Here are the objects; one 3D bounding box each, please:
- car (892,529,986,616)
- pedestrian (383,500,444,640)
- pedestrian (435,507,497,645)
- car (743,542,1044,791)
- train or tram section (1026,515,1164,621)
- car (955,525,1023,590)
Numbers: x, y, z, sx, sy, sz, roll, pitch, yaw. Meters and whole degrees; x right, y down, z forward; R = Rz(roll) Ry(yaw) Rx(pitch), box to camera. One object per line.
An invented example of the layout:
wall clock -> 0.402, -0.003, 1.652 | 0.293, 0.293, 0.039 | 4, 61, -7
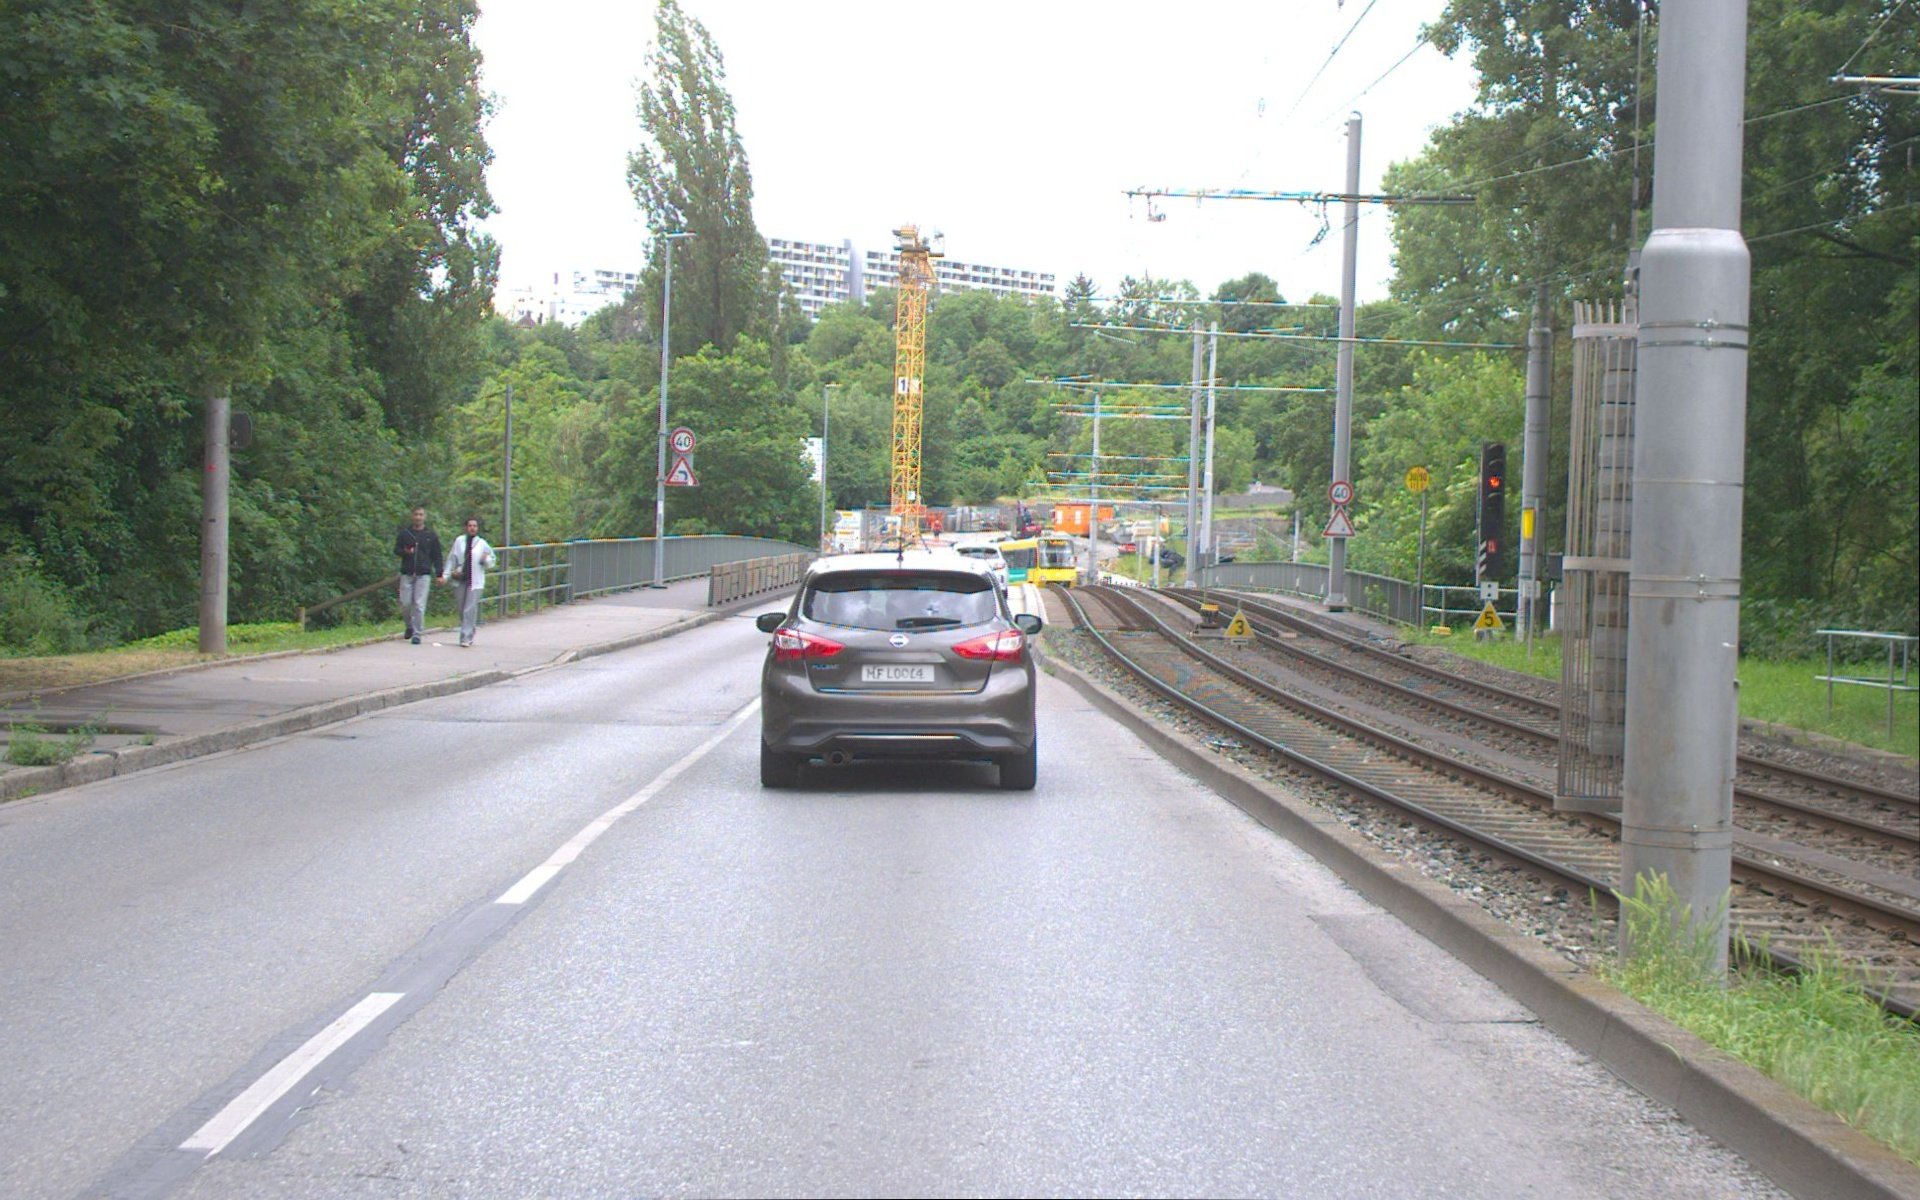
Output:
car -> -0.395, -0.579, 69.156 | 1.680, 1.601, 4.309 | 3, 1, 1
pedestrian -> -7.184, -0.394, 45.227 | 0.587, 1.797, 0.822 | 3, 1, 0
pedestrian -> -6.518, -0.318, 45.389 | 0.551, 1.759, 0.858 | 5, 1, 0
car -> -0.493, 0.408, 23.222 | 1.829, 1.505, 4.000 | 1, 0, -2
train or tram section -> 7.169, -1.571, 188.565 | 3.027, 5.165, 23.060 | 3, -1, -9
car -> 0.775, -1.123, 90.326 | 1.680, 1.601, 4.309 | 2, 1, 1
